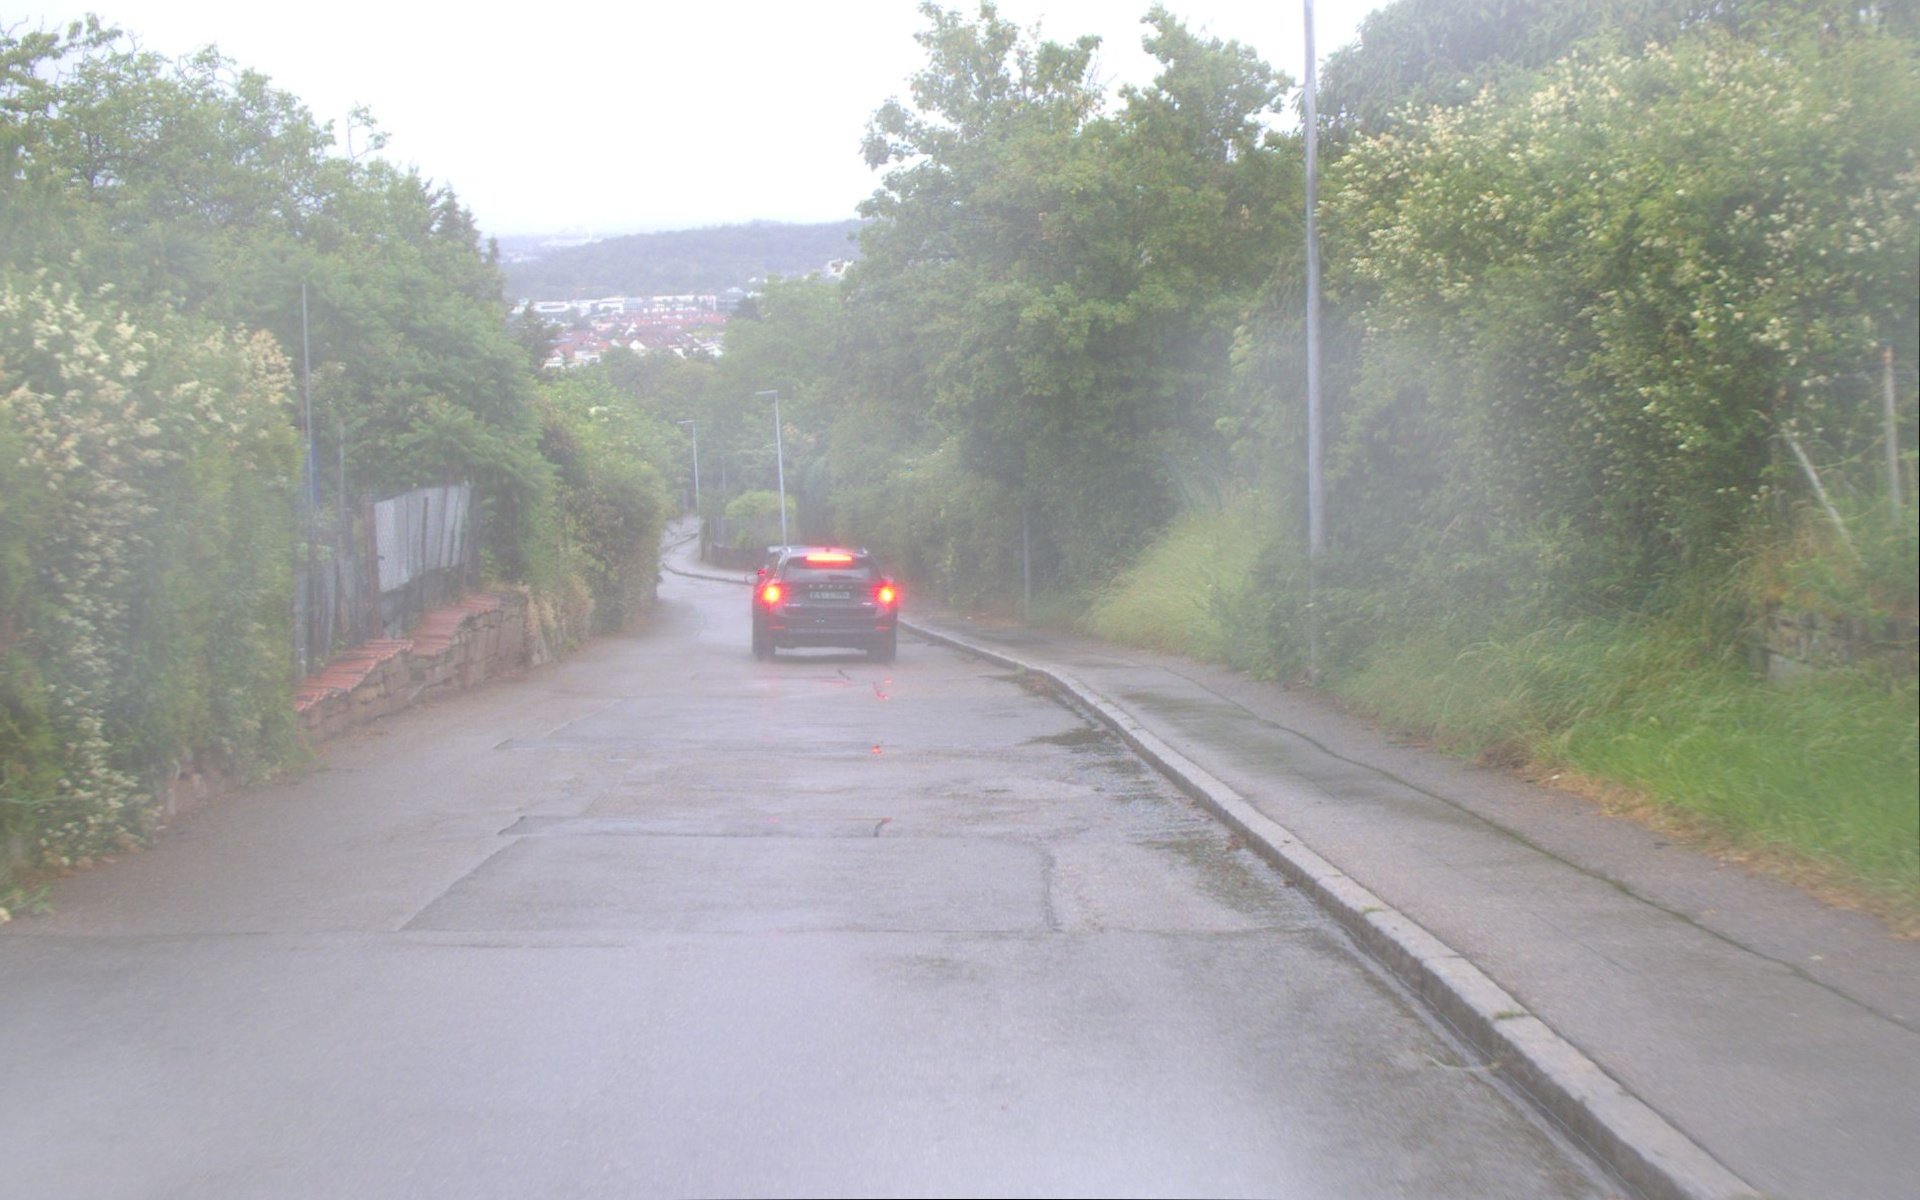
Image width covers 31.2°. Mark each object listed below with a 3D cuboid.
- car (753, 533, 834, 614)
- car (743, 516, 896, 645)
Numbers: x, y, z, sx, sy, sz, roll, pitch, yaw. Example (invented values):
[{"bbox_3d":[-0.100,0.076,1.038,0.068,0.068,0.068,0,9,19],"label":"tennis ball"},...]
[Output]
[{"bbox_3d":[-3.637,-0.603,75.583,1.678,1.559,3.795,-1,3,-2],"label":"car"},{"bbox_3d":[-1.830,-0.291,44.217,1.834,1.459,4.001,-2,3,-3],"label":"car"}]
